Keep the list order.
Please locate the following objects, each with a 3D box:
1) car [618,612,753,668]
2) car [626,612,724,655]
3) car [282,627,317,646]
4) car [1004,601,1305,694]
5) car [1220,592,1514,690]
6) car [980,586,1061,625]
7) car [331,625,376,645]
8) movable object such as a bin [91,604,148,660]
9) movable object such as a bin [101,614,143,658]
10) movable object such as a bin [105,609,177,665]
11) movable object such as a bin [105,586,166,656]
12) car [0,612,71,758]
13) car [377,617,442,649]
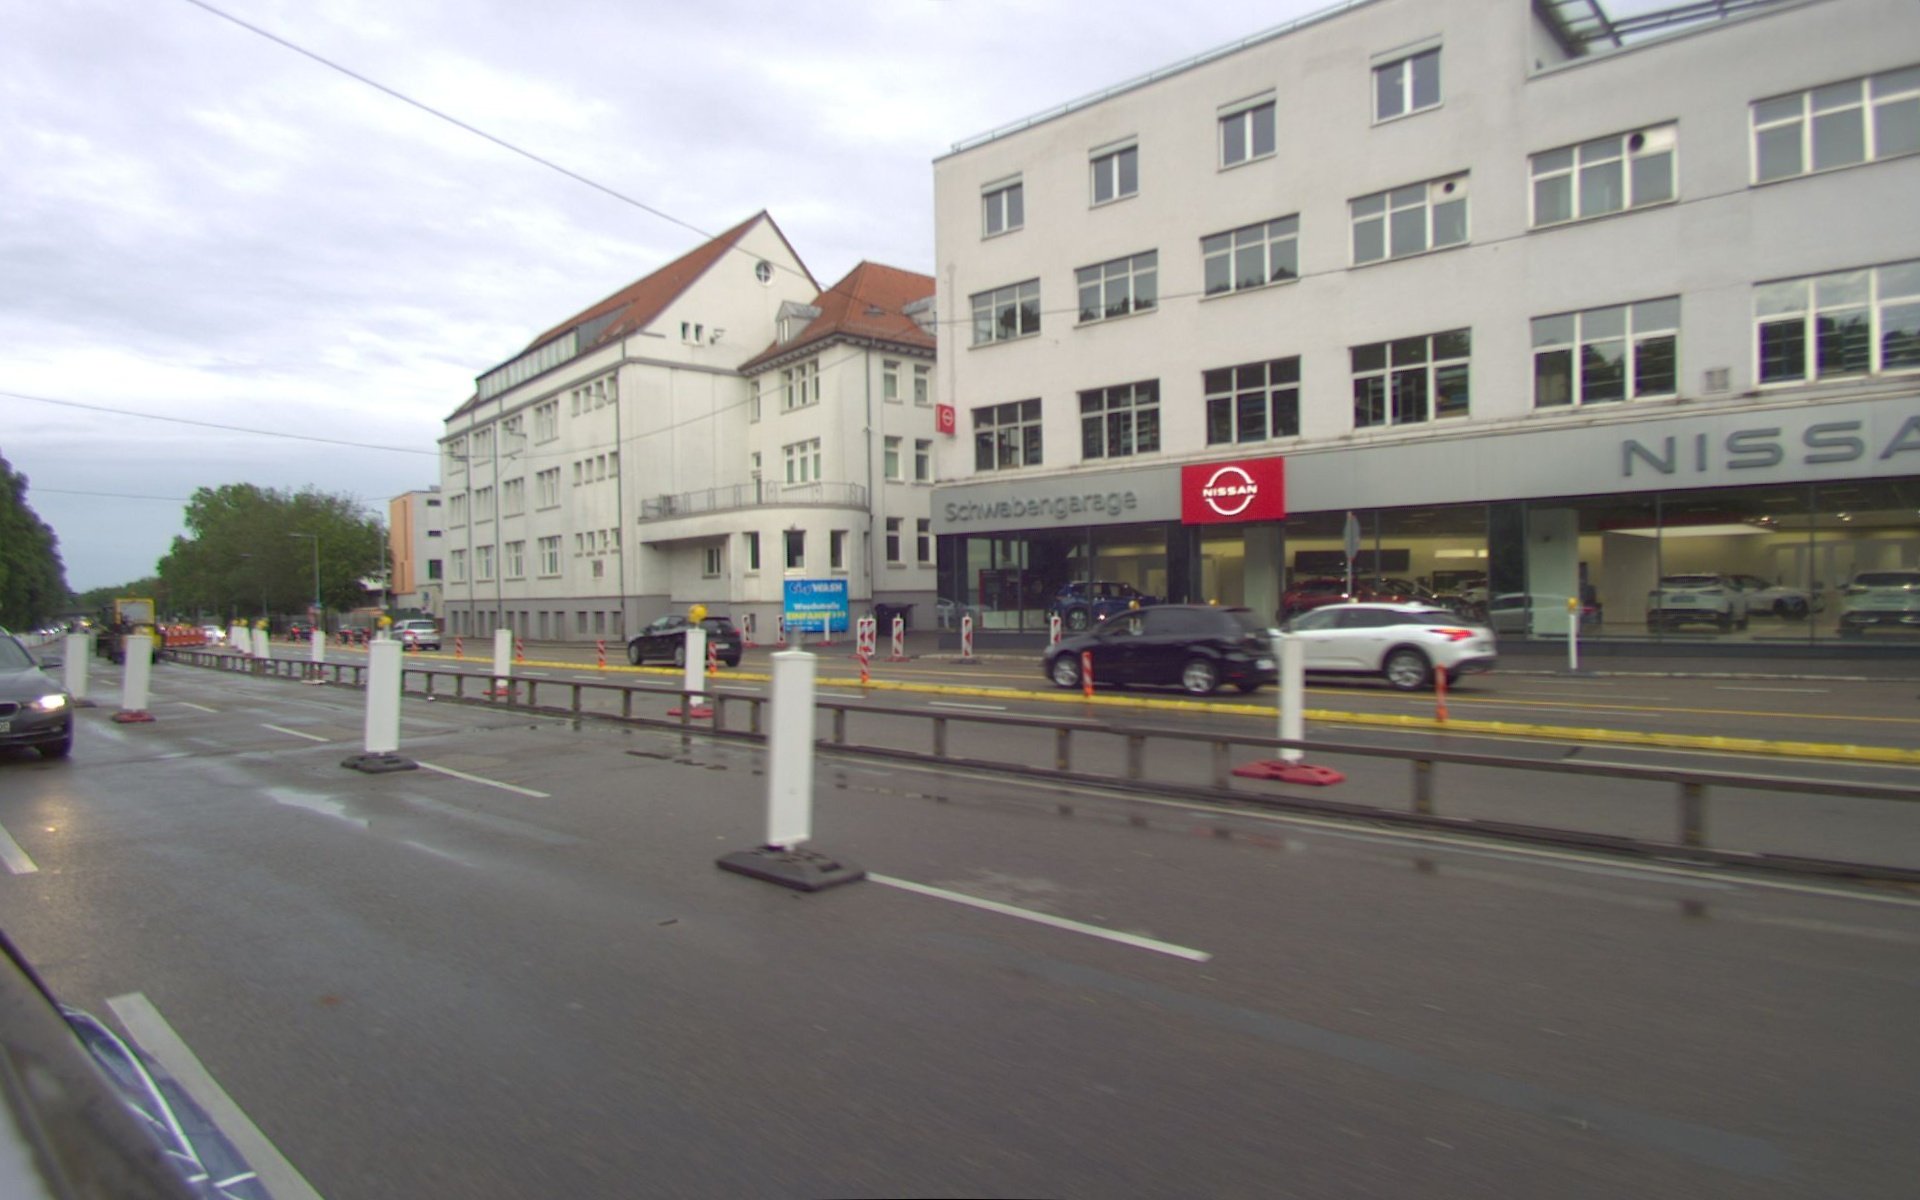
[{"bbox_3d":[-7.456,1.029,27.375,3.804,1.397,1.778,-1,-1,42],"label":"car"},{"bbox_3d":[-10.194,1.165,36.090,3.709,1.424,1.714,-1,-1,44],"label":"car"},{"bbox_3d":[-58.811,3.220,90.068,1.969,1.597,4.215,0,-1,-42],"label":"car"},{"bbox_3d":[3.159,0.720,17.193,4.811,1.361,1.778,-1,-1,42],"label":"car"},{"bbox_3d":[7.079,0.661,17.952,4.523,1.519,1.764,-1,-1,44],"label":"car"},{"bbox_3d":[3.010,0.273,50.005,3.904,1.844,1.791,0,-1,-43],"label":"car"},{"bbox_3d":[-43.755,2.532,72.975,4.001,1.392,1.837,-2,-2,44],"label":"car"},{"bbox_3d":[-45.246,1.685,54.456,2.096,2.860,4.483,0,-1,-43],"label":"movable object such as a bin"},{"bbox_3d":[-41.691,1.784,50.300,1.379,2.060,4.090,0,-2,-43],"label":"movable object such as a bin"},{"bbox_3d":[-33.041,1.474,40.797,1.970,2.128,3.853,0,-1,-43],"label":"movable object such as a bin"},{"bbox_3d":[-35.860,0.932,43.987,1.800,2.934,3.610,1,-2,-43],"label":"movable object such as a bin"},{"bbox_3d":[-11.496,0.913,11.285,4.173,1.461,1.742,-2,-1,39],"label":"car"},{"bbox_3d":[-26.200,1.548,48.089,1.681,1.475,4.121,2,-2,-44],"label":"car"}]
